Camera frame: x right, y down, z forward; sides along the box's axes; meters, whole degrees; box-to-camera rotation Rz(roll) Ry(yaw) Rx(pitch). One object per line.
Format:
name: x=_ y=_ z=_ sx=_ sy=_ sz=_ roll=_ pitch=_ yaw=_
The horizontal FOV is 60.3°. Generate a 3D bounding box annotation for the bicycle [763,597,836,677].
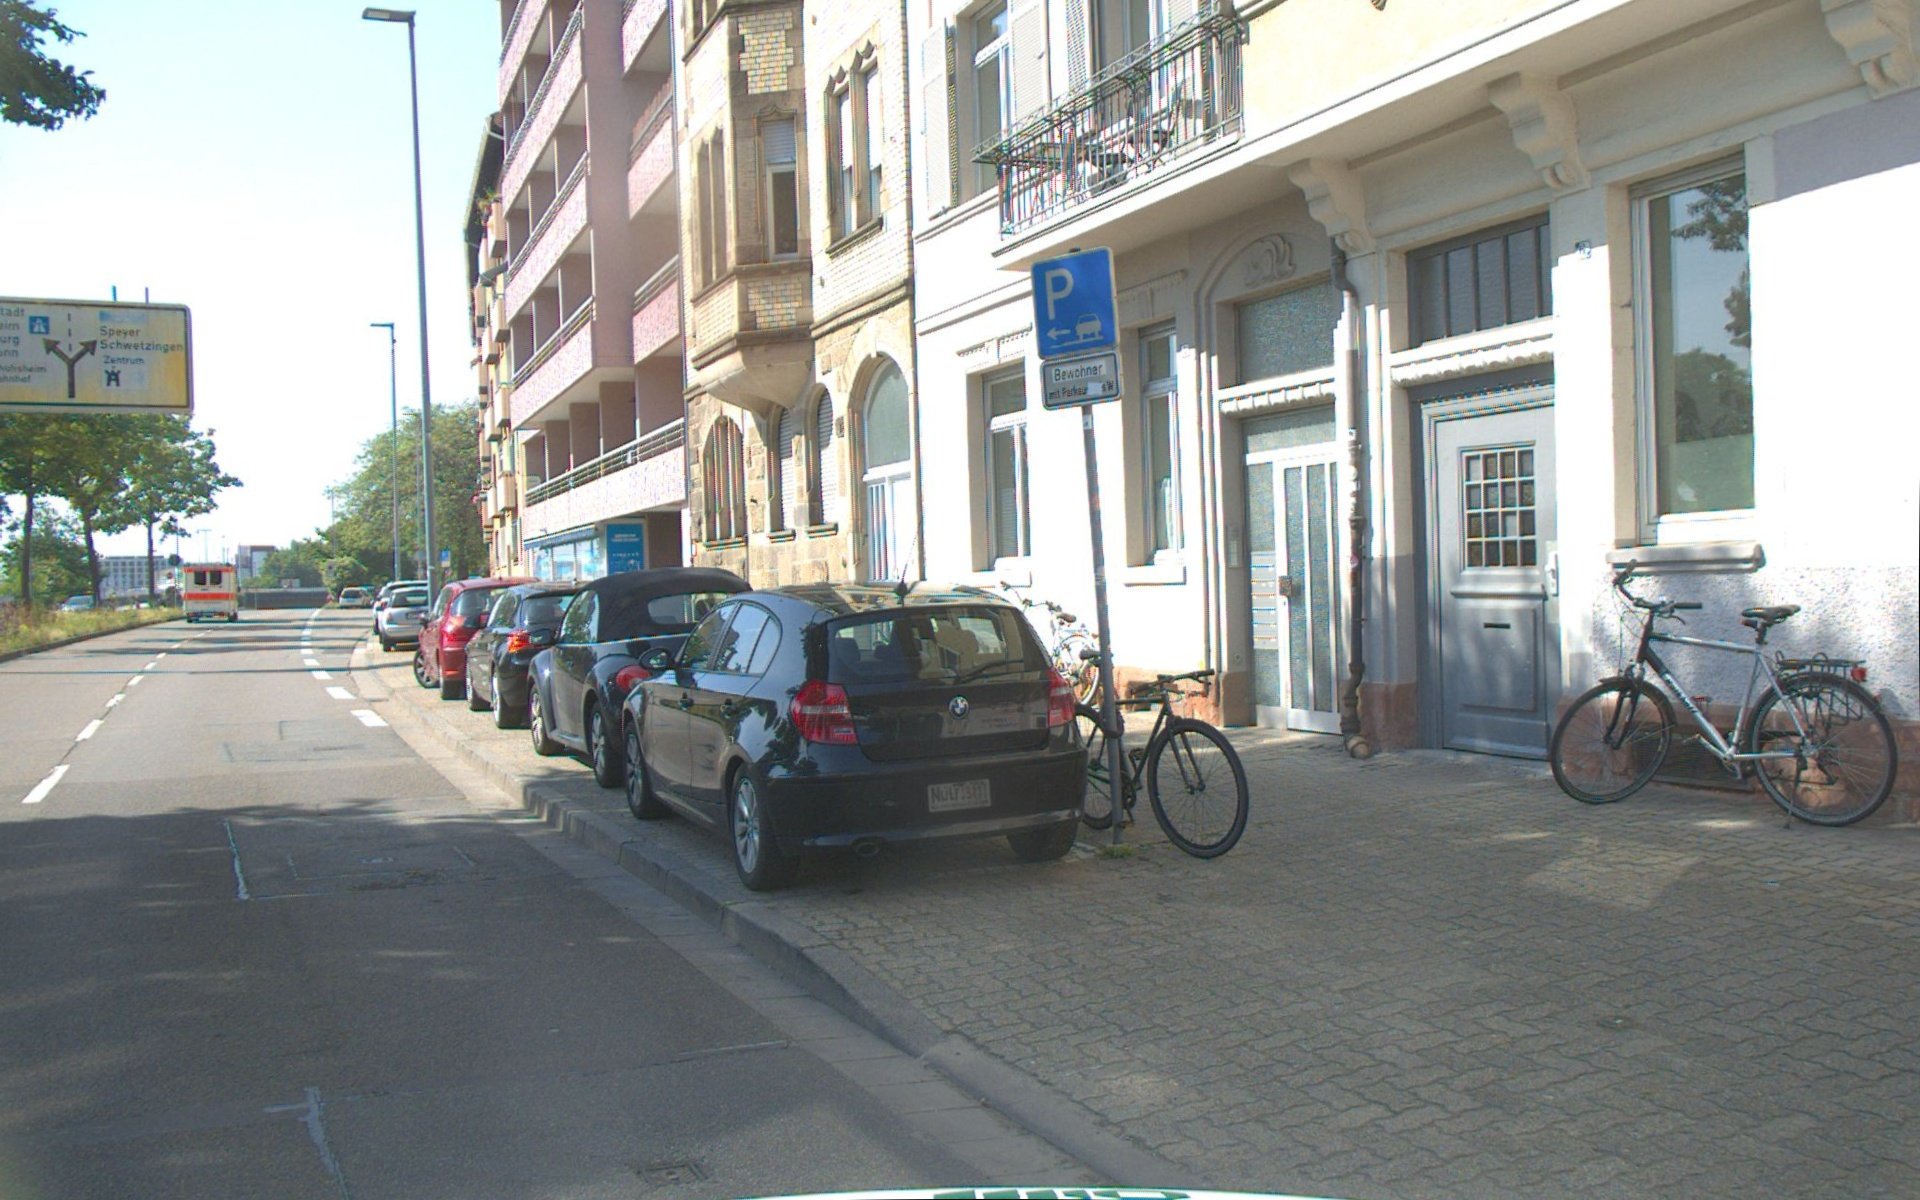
bicycle: x=-2.140 y=0.469 z=21.921 sx=0.500 sy=0.987 sz=1.642 roll=-3 pitch=1 yaw=-22

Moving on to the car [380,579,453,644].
car: x=-14.562 y=0.278 z=44.236 sx=1.710 sy=1.568 sz=4.329 roll=-3 pitch=1 yaw=-19

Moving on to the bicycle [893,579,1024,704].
bicycle: x=-0.036 y=0.401 z=16.964 sx=0.647 sy=1.166 sz=1.613 roll=-4 pitch=2 yaw=-26

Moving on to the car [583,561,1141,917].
car: x=-0.791 y=0.580 z=9.180 sx=1.718 sy=1.441 sz=4.049 roll=-3 pitch=1 yaw=-25

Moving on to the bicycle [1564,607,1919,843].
bicycle: x=3.980 y=0.541 z=8.069 sx=0.600 sy=0.962 sz=2.097 roll=-4 pitch=2 yaw=-25

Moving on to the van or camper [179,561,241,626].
van or camper: x=-35.141 y=-0.304 z=77.646 sx=2.264 sy=2.837 sz=5.534 roll=-2 pitch=1 yaw=-22

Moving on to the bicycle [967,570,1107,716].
bicycle: x=0.687 y=0.362 z=15.302 sx=0.559 sy=1.200 sz=1.613 roll=-4 pitch=5 yaw=-26

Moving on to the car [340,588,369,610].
car: x=-43.780 y=-0.086 z=119.611 sx=1.593 sy=1.531 sz=3.447 roll=-1 pitch=1 yaw=-15

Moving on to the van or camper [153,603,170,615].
van or camper: x=-94.688 y=1.040 z=196.137 sx=1.446 sy=1.373 sz=4.600 roll=-2 pitch=1 yaw=-21

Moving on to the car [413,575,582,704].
car: x=-6.431 y=0.483 z=22.736 sx=1.760 sy=1.508 sz=3.973 roll=-4 pitch=1 yaw=-22

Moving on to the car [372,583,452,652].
car: x=-13.122 y=0.380 z=39.597 sx=1.653 sy=1.433 sz=3.412 roll=-4 pitch=2 yaw=-19

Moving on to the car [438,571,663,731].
car: x=-4.576 y=0.486 z=18.087 sx=1.621 sy=1.478 sz=4.094 roll=-3 pitch=1 yaw=-25

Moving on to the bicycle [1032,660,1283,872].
bicycle: x=0.968 y=0.799 z=8.477 sx=0.442 sy=0.907 sz=1.567 roll=-4 pitch=1 yaw=-27

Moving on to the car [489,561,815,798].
car: x=-2.633 y=0.533 z=13.388 sx=1.621 sy=1.527 sz=3.979 roll=-4 pitch=1 yaw=-25

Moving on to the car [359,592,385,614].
car: x=-46.013 y=0.212 z=129.405 sx=1.745 sy=1.607 sz=4.164 roll=-3 pitch=1 yaw=-18

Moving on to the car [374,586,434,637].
car: x=-17.963 y=0.353 z=53.382 sx=1.730 sy=1.532 sz=4.104 roll=-1 pitch=0 yaw=-19
